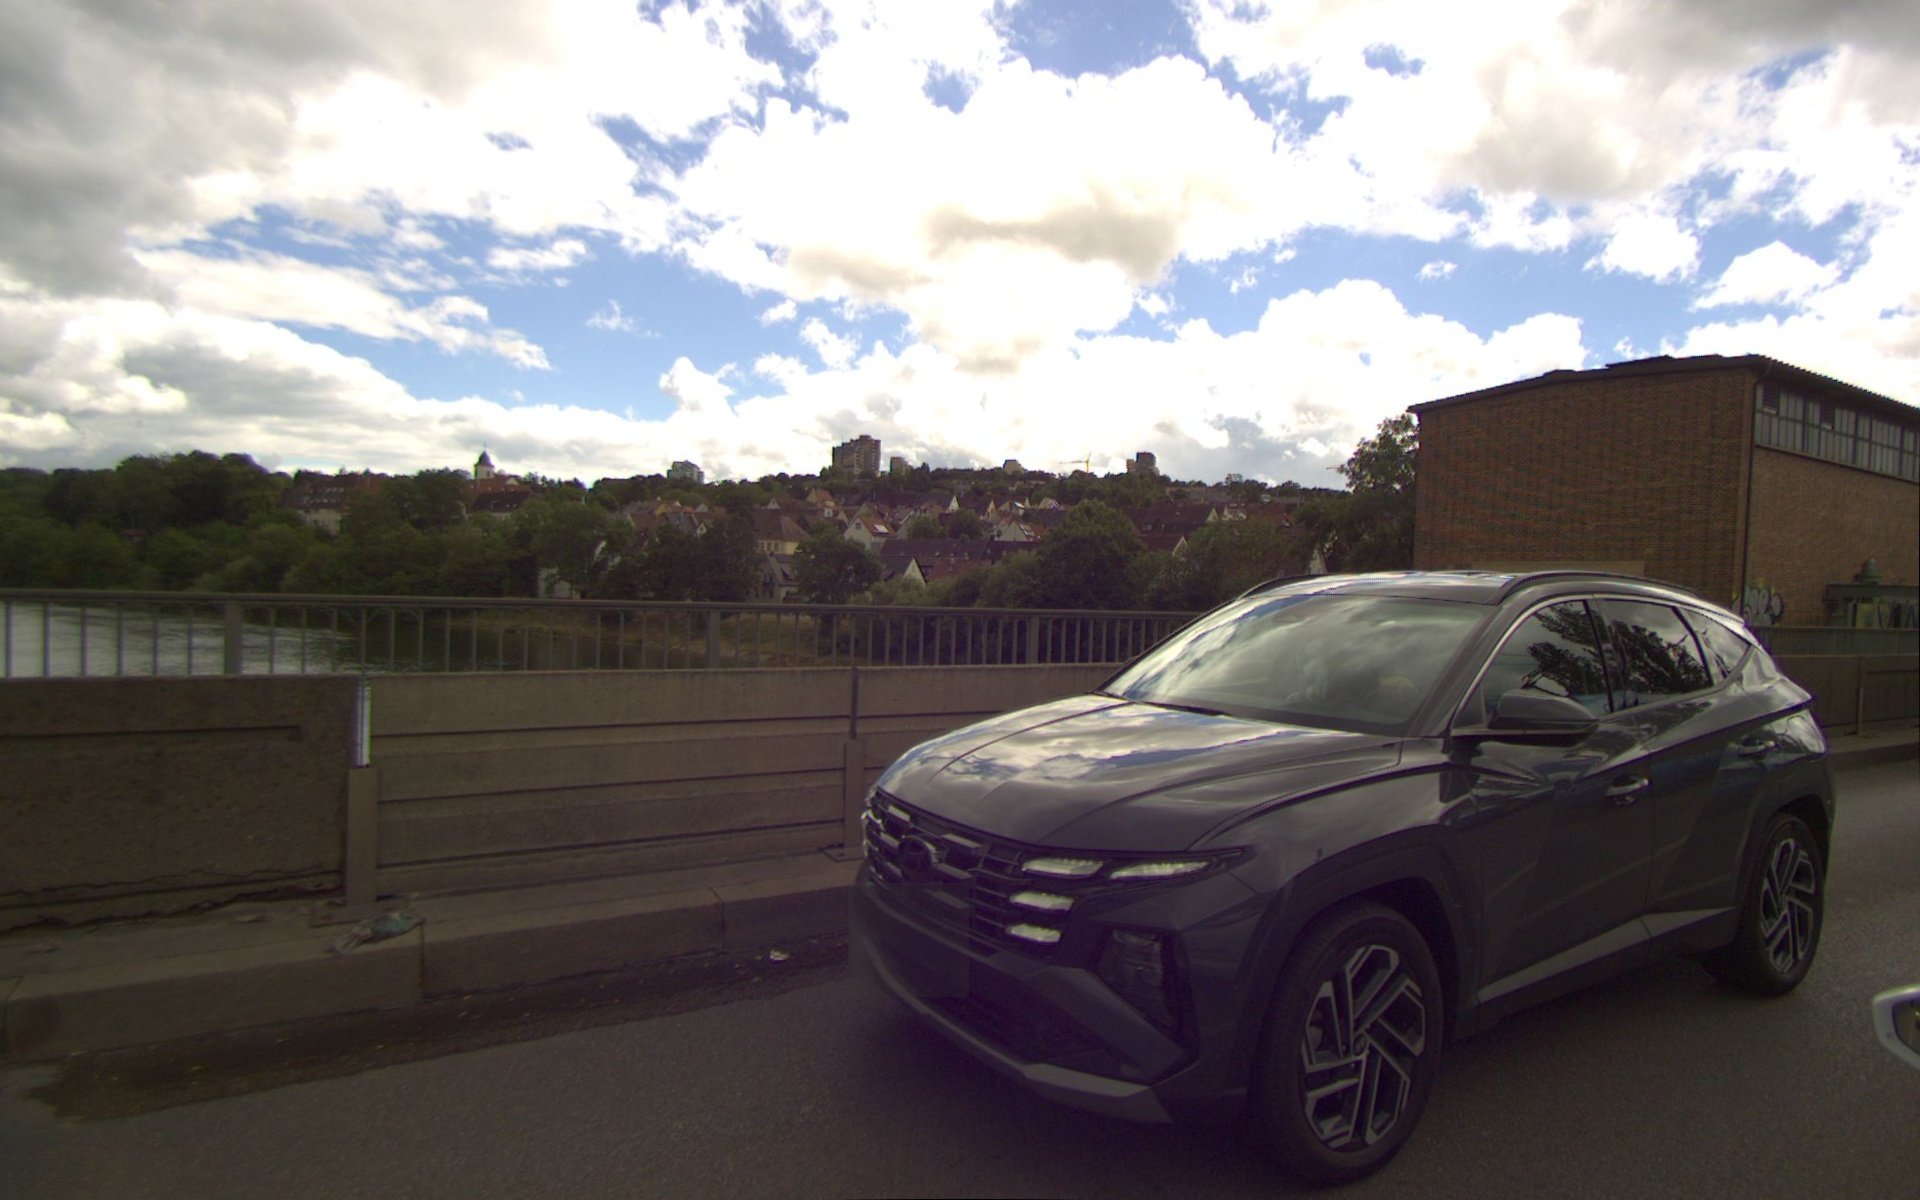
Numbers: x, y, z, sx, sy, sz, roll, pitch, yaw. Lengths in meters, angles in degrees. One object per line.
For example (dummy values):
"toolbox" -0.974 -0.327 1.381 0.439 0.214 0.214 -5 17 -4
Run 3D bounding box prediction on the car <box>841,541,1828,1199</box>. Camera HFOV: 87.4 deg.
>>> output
"car" 1.673 0.730 4.087 3.954 1.667 1.707 1 -1 -31
